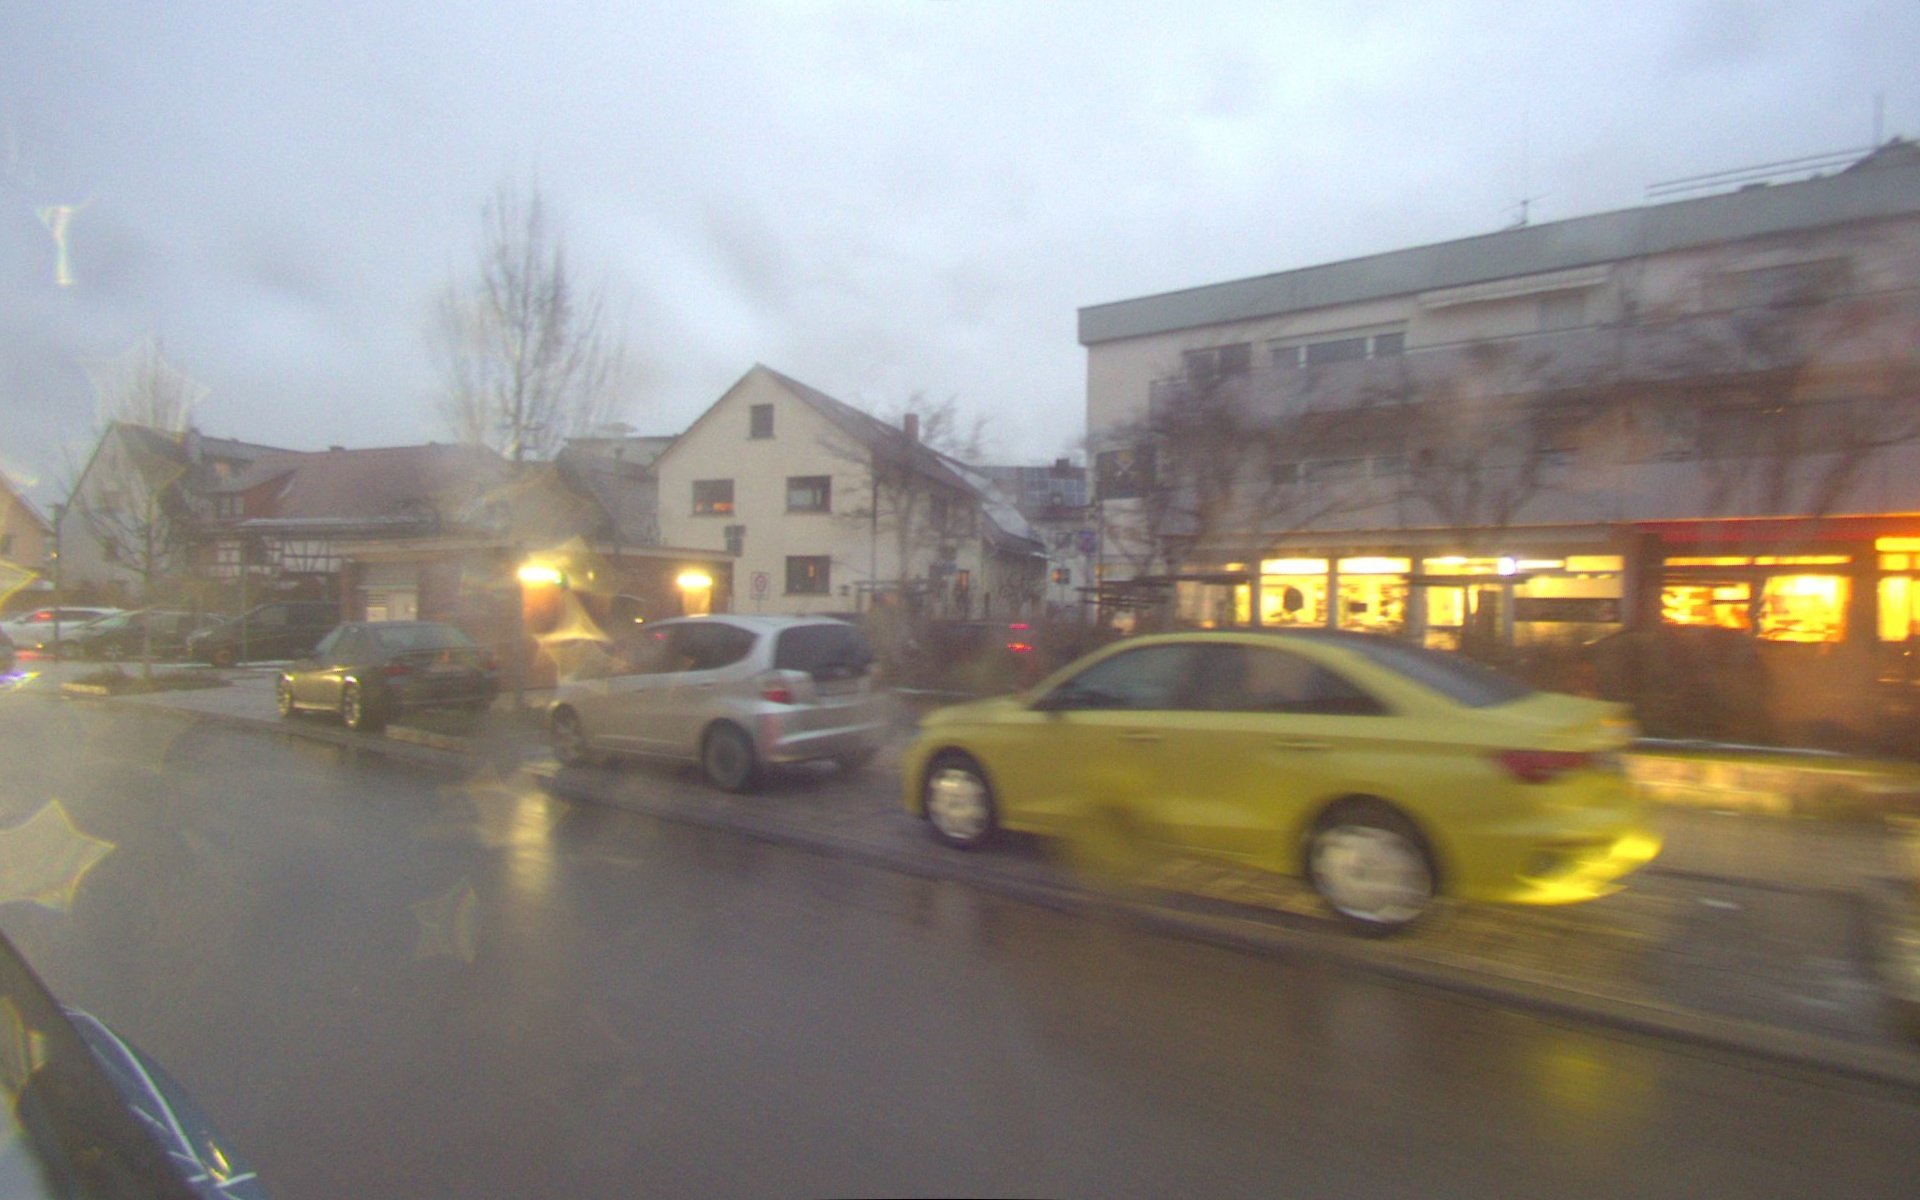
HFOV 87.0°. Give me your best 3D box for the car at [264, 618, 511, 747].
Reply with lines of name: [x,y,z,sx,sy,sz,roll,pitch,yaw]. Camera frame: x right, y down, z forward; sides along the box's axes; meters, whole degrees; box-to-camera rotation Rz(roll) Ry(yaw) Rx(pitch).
car: [-8.262,1.043,14.464,4.137,1.546,1.816,-1,0,41]

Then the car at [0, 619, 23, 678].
car: [-26.104,1.259,25.877,3.894,1.457,1.965,-1,0,27]

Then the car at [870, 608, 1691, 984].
car: [1.577,0.810,6.051,4.375,1.442,1.676,-1,-1,42]

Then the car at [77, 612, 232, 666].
car: [-25.730,1.196,32.369,3.785,1.557,2.003,-1,0,-41]

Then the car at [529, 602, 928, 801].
car: [-2.311,0.815,9.790,3.666,1.546,1.857,-1,0,37]

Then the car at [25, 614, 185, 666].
car: [-28.203,1.275,33.545,3.936,1.559,2.004,-1,0,-39]

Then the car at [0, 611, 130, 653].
car: [-31.100,1.076,34.720,3.940,1.309,2.002,-1,0,-44]

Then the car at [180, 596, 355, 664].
car: [-19.250,0.814,28.294,3.933,1.776,1.437,1,-1,-34]

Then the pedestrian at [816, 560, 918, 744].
pedestrian: [-1.078,0.584,11.739,0.889,2.029,0.792,1,-2,-39]
